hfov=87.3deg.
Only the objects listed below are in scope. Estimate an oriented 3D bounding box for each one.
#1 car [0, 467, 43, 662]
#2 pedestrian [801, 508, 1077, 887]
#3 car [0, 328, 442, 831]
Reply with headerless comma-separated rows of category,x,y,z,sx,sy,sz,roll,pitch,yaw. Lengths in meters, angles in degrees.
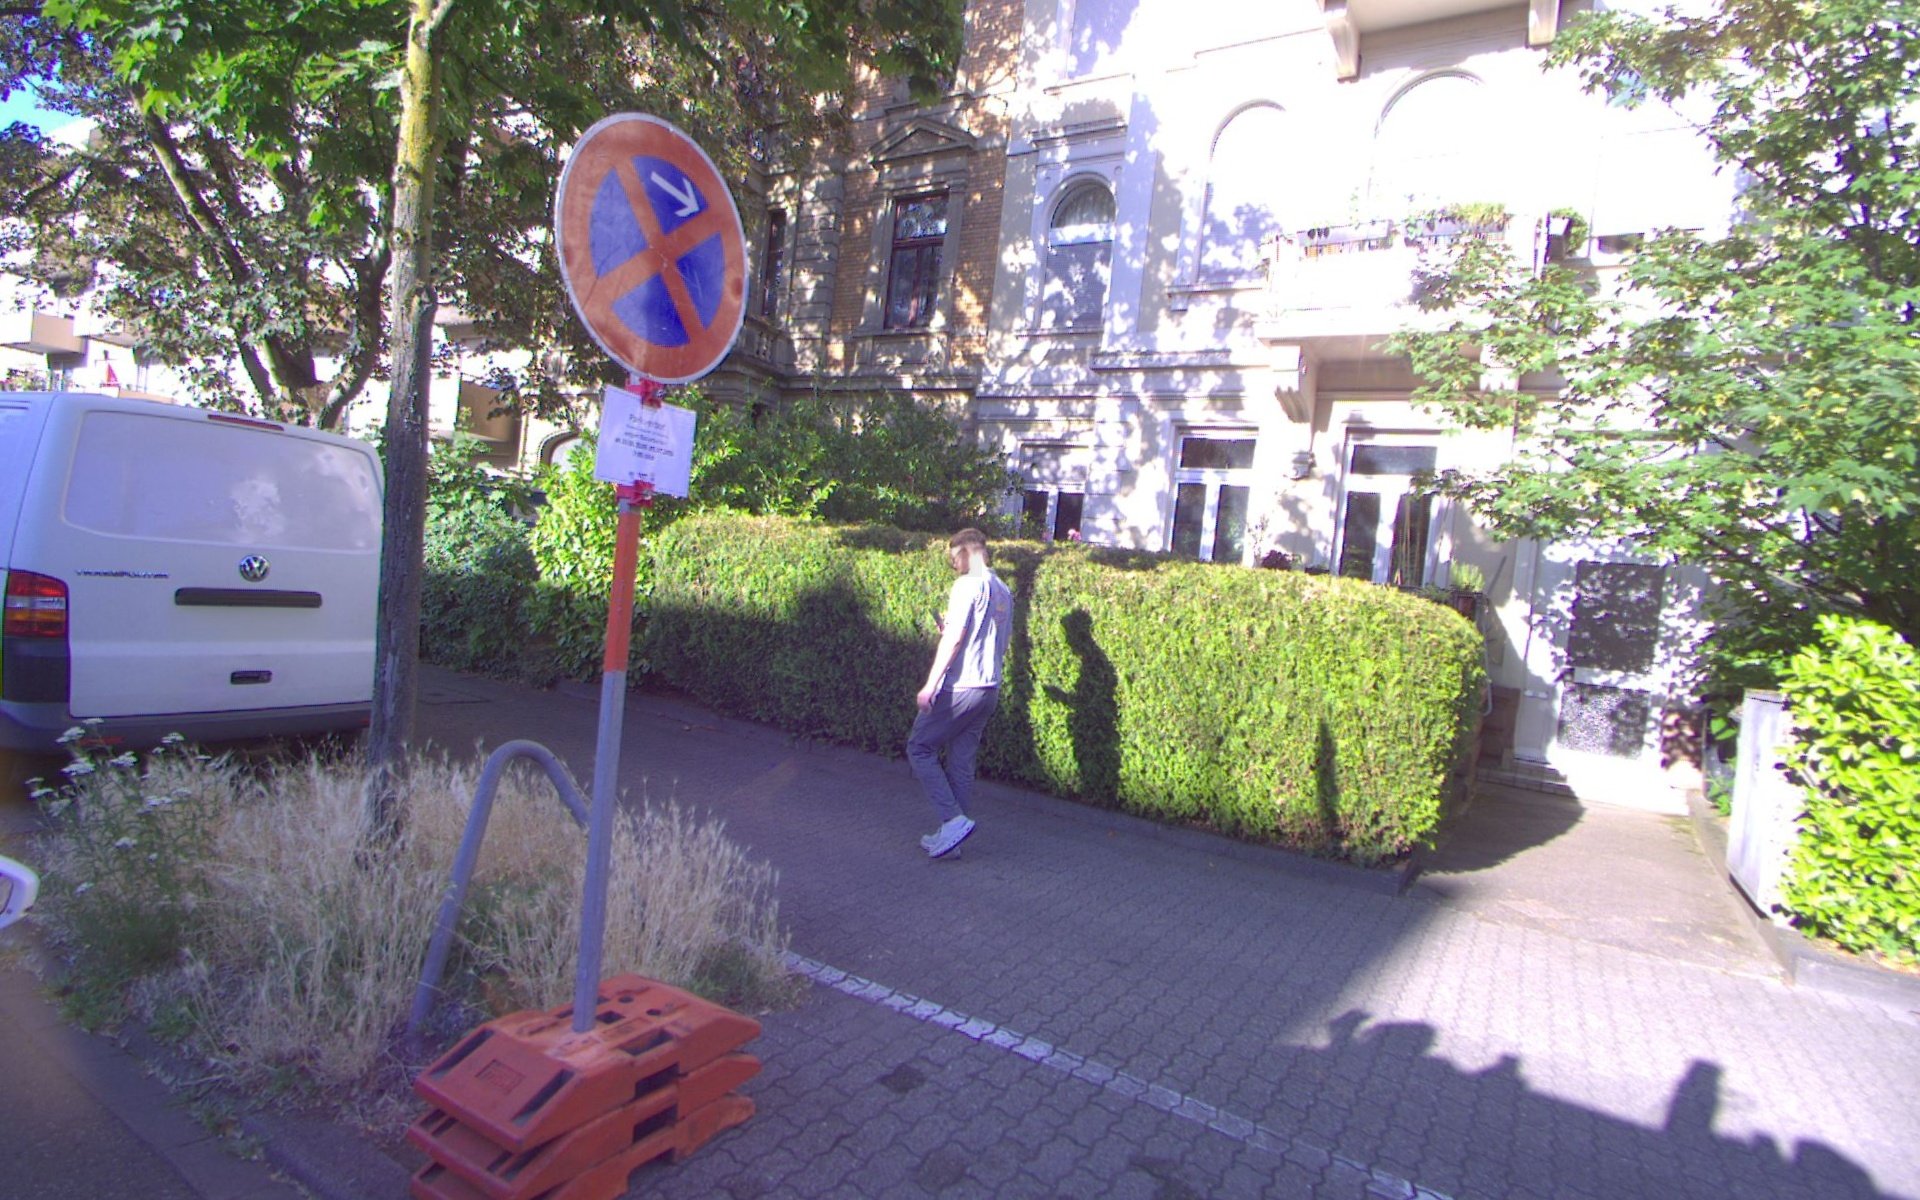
car,-10.117,-0.511,8.892,4.239,1.625,1.856,7,3,31
pedestrian,-0.104,0.478,5.511,1.070,1.796,0.822,7,1,28
car,-5.546,-0.239,6.186,4.562,2.129,1.905,7,0,30
